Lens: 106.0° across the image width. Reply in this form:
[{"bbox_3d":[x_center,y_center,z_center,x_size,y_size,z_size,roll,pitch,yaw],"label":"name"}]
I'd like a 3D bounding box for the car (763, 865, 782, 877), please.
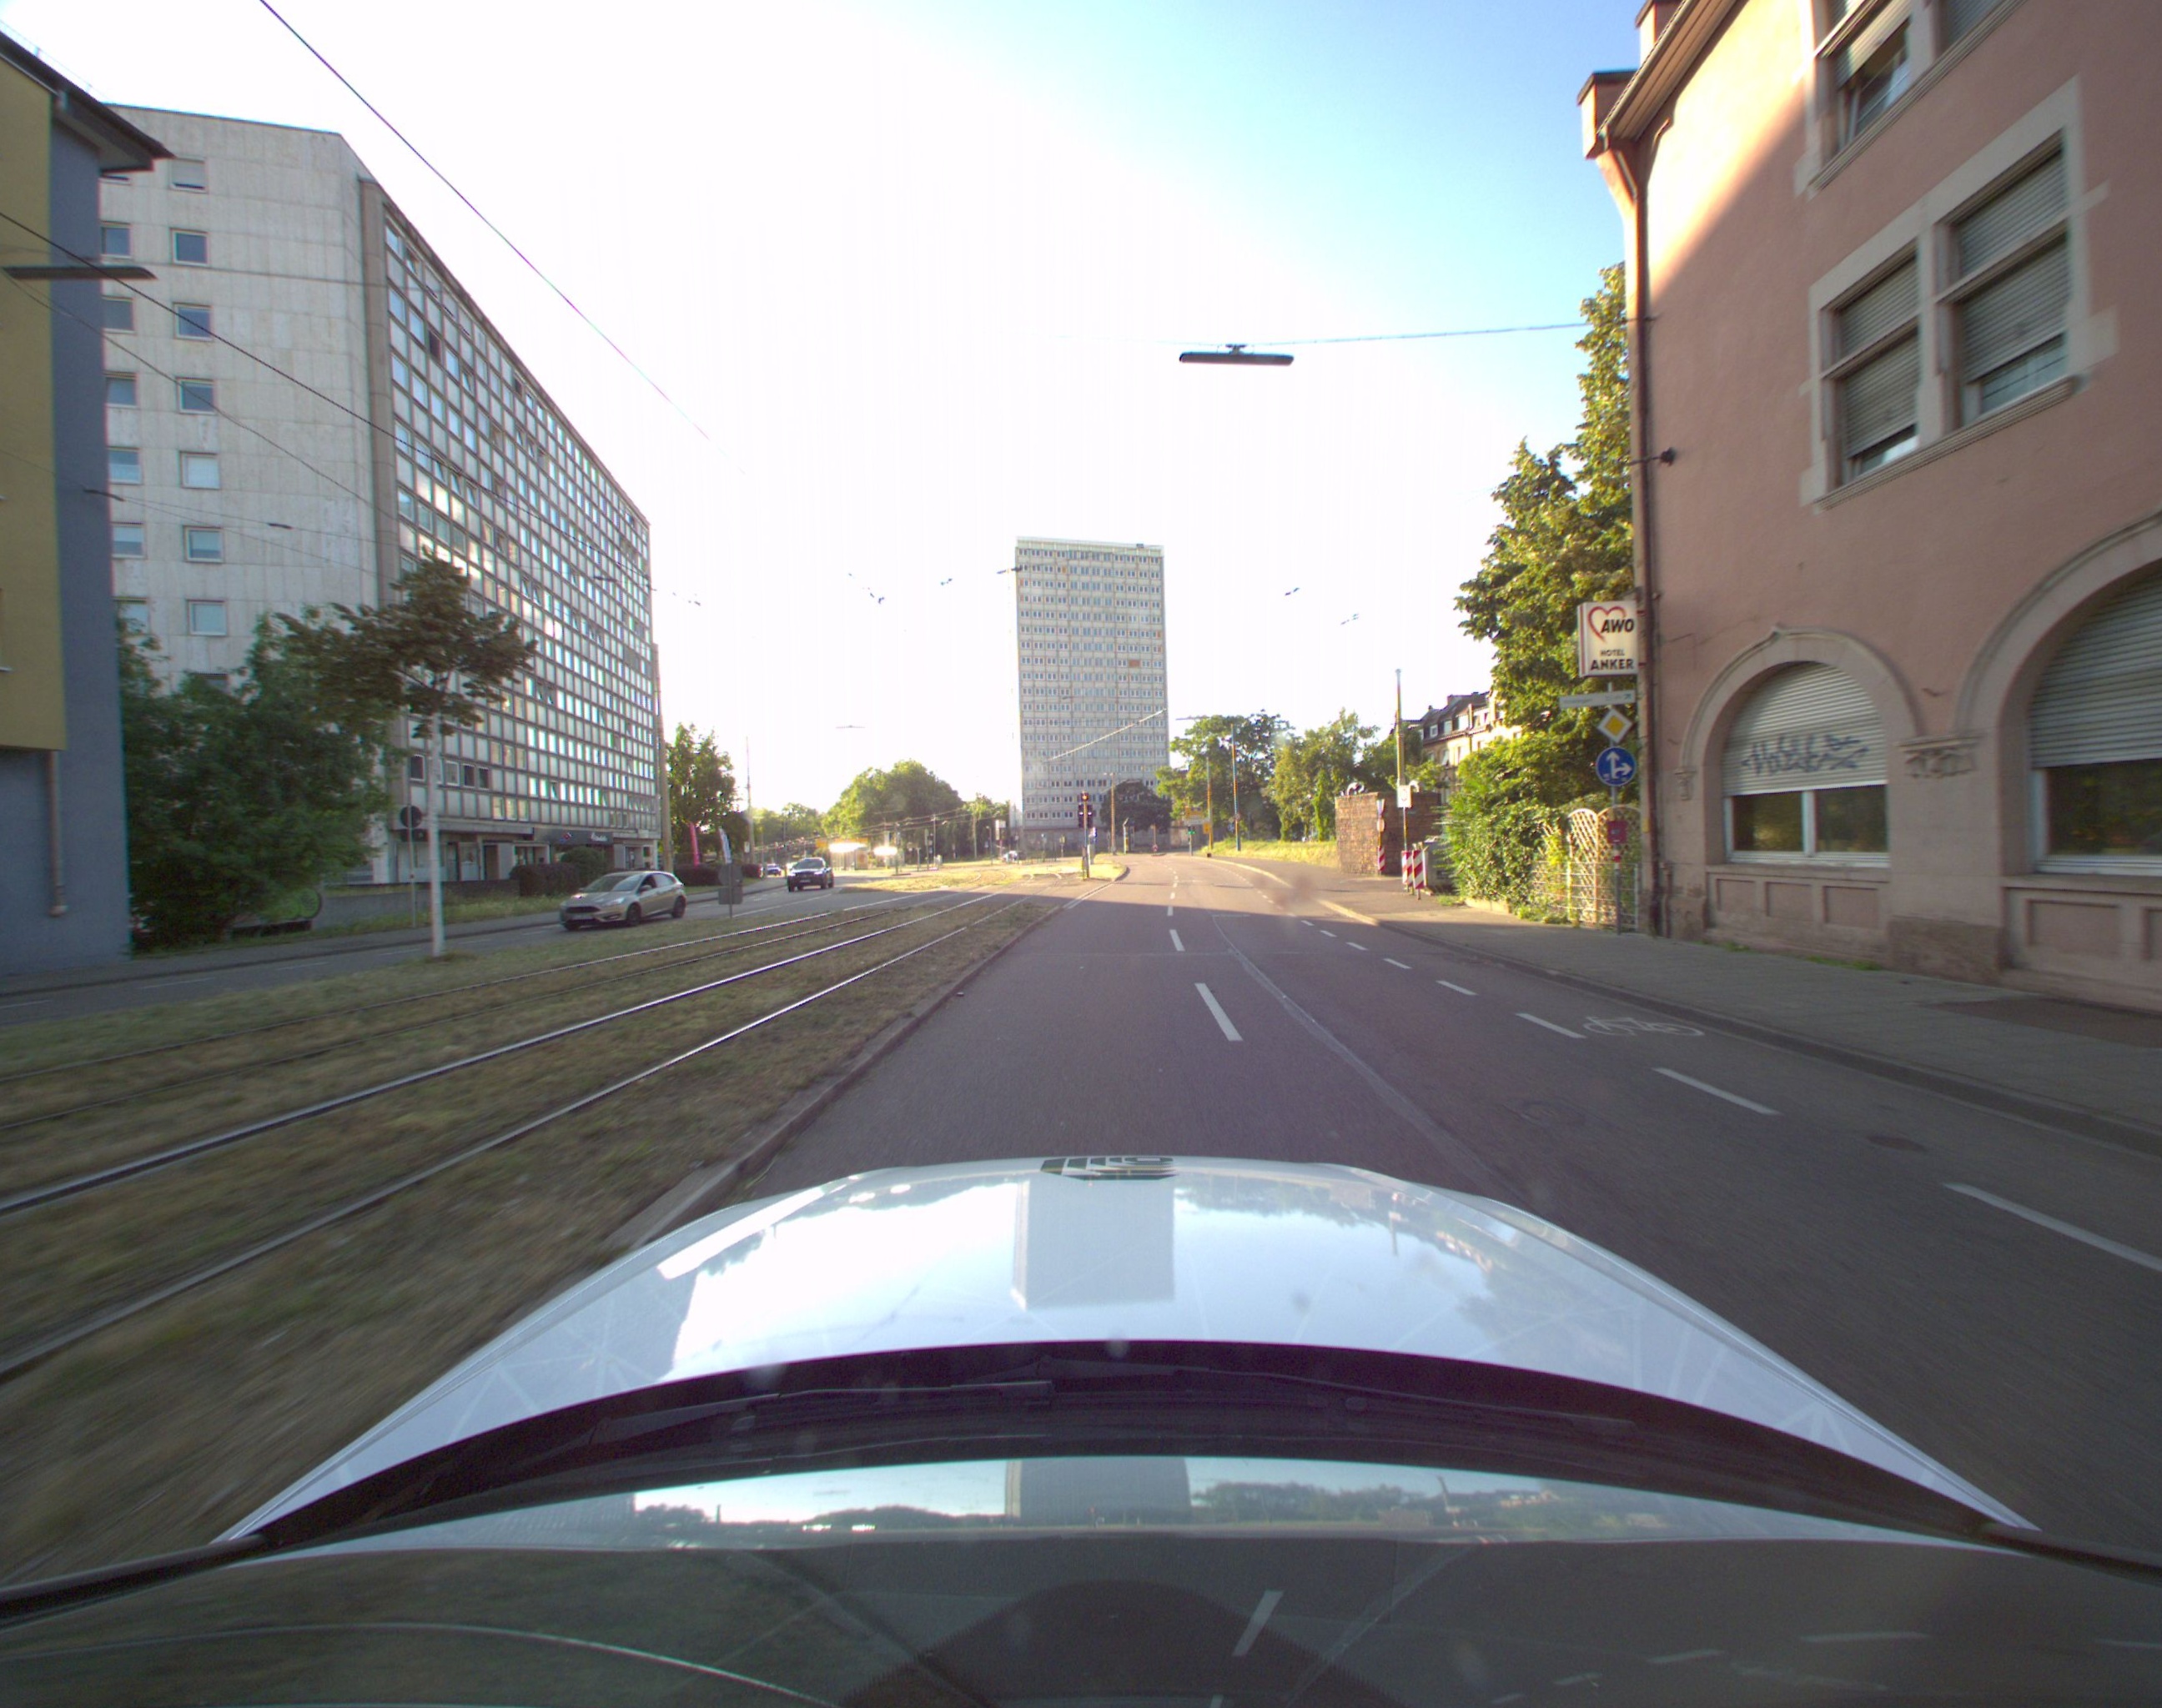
[{"bbox_3d":[-37.534,2.102,98.953,1.555,1.340,3.559,-3,0,-30],"label":"car"}]

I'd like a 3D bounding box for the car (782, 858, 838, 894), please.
[{"bbox_3d":[-14.420,1.134,43.604,1.917,1.661,4.695,-3,1,-8],"label":"car"}]

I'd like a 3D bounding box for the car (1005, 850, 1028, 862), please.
[{"bbox_3d":[-8.870,0.265,111.383,1.782,1.422,3.822,-3,1,-26],"label":"car"}]

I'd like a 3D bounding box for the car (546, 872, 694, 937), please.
[{"bbox_3d":[-12.793,1.341,22.962,1.693,1.460,4.313,-4,0,-1],"label":"car"}]

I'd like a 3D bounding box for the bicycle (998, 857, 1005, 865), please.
[{"bbox_3d":[-10.001,0.879,102.489,0.551,0.917,1.745,-4,1,5],"label":"bicycle"}]
